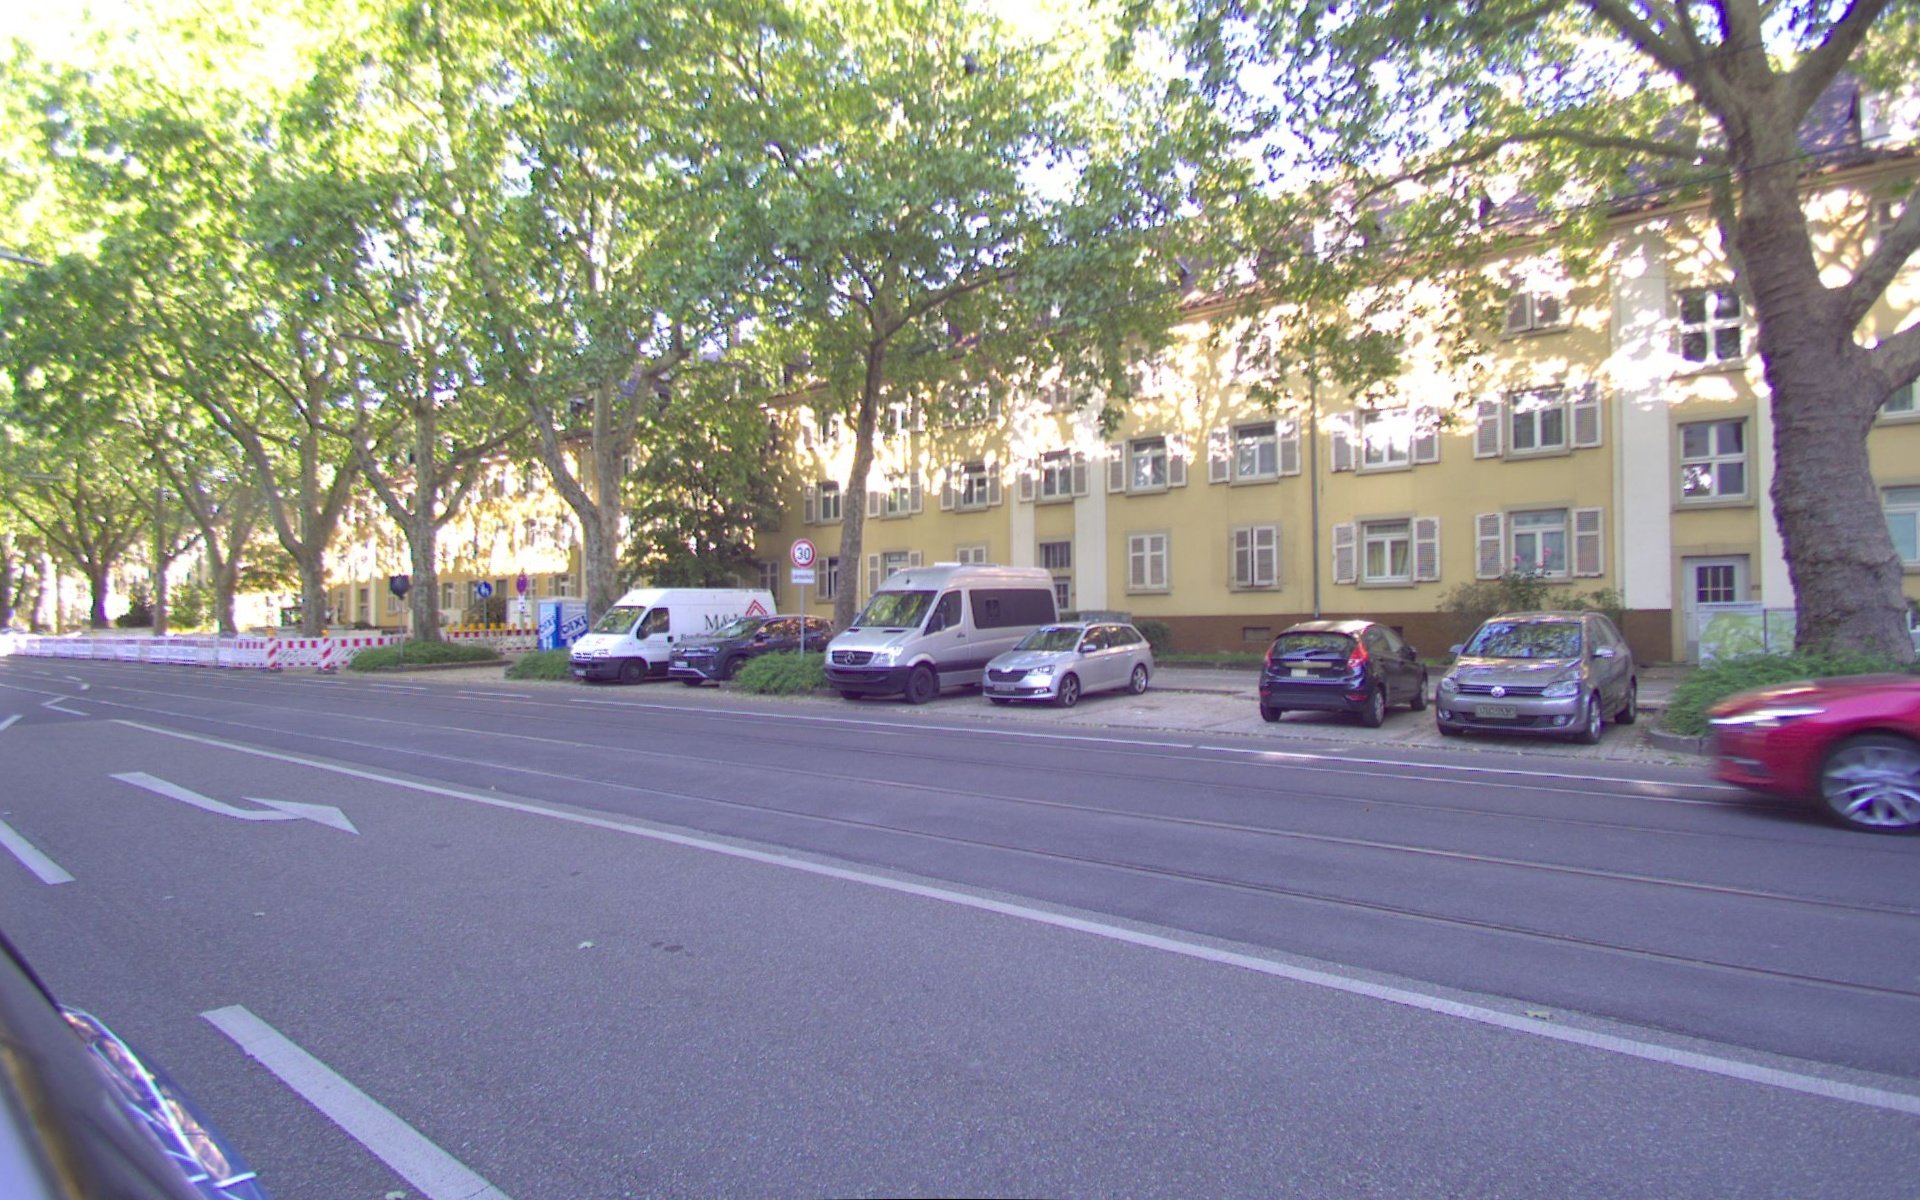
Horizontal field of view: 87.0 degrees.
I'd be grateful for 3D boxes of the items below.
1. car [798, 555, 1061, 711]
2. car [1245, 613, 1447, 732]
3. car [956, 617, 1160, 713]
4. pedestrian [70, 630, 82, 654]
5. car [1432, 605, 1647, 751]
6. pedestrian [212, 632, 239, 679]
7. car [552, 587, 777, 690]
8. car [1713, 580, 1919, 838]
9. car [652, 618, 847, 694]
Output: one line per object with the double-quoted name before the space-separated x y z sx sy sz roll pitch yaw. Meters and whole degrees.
"car" -0.424 0.608 20.449 2.221 2.702 5.596 -2 -1 38
"car" 5.969 1.000 15.420 1.671 1.509 3.756 -2 -1 41
"car" 1.915 1.120 18.837 1.773 1.509 4.031 -2 -1 41
"pedestrian" -71.164 3.398 81.489 0.722 1.900 0.666 -1 0 -42
"car" 7.746 0.898 13.369 1.672 1.592 3.928 -2 -1 42
"pedestrian" -27.856 2.096 38.393 0.581 1.759 0.645 -1 0 32
"car" -7.558 0.963 26.376 2.222 2.394 5.336 -2 -2 40
"car" 7.470 0.645 6.245 4.484 1.577 1.997 -2 -2 37
"car" -4.976 1.275 24.450 1.772 1.664 4.570 -2 -2 38
